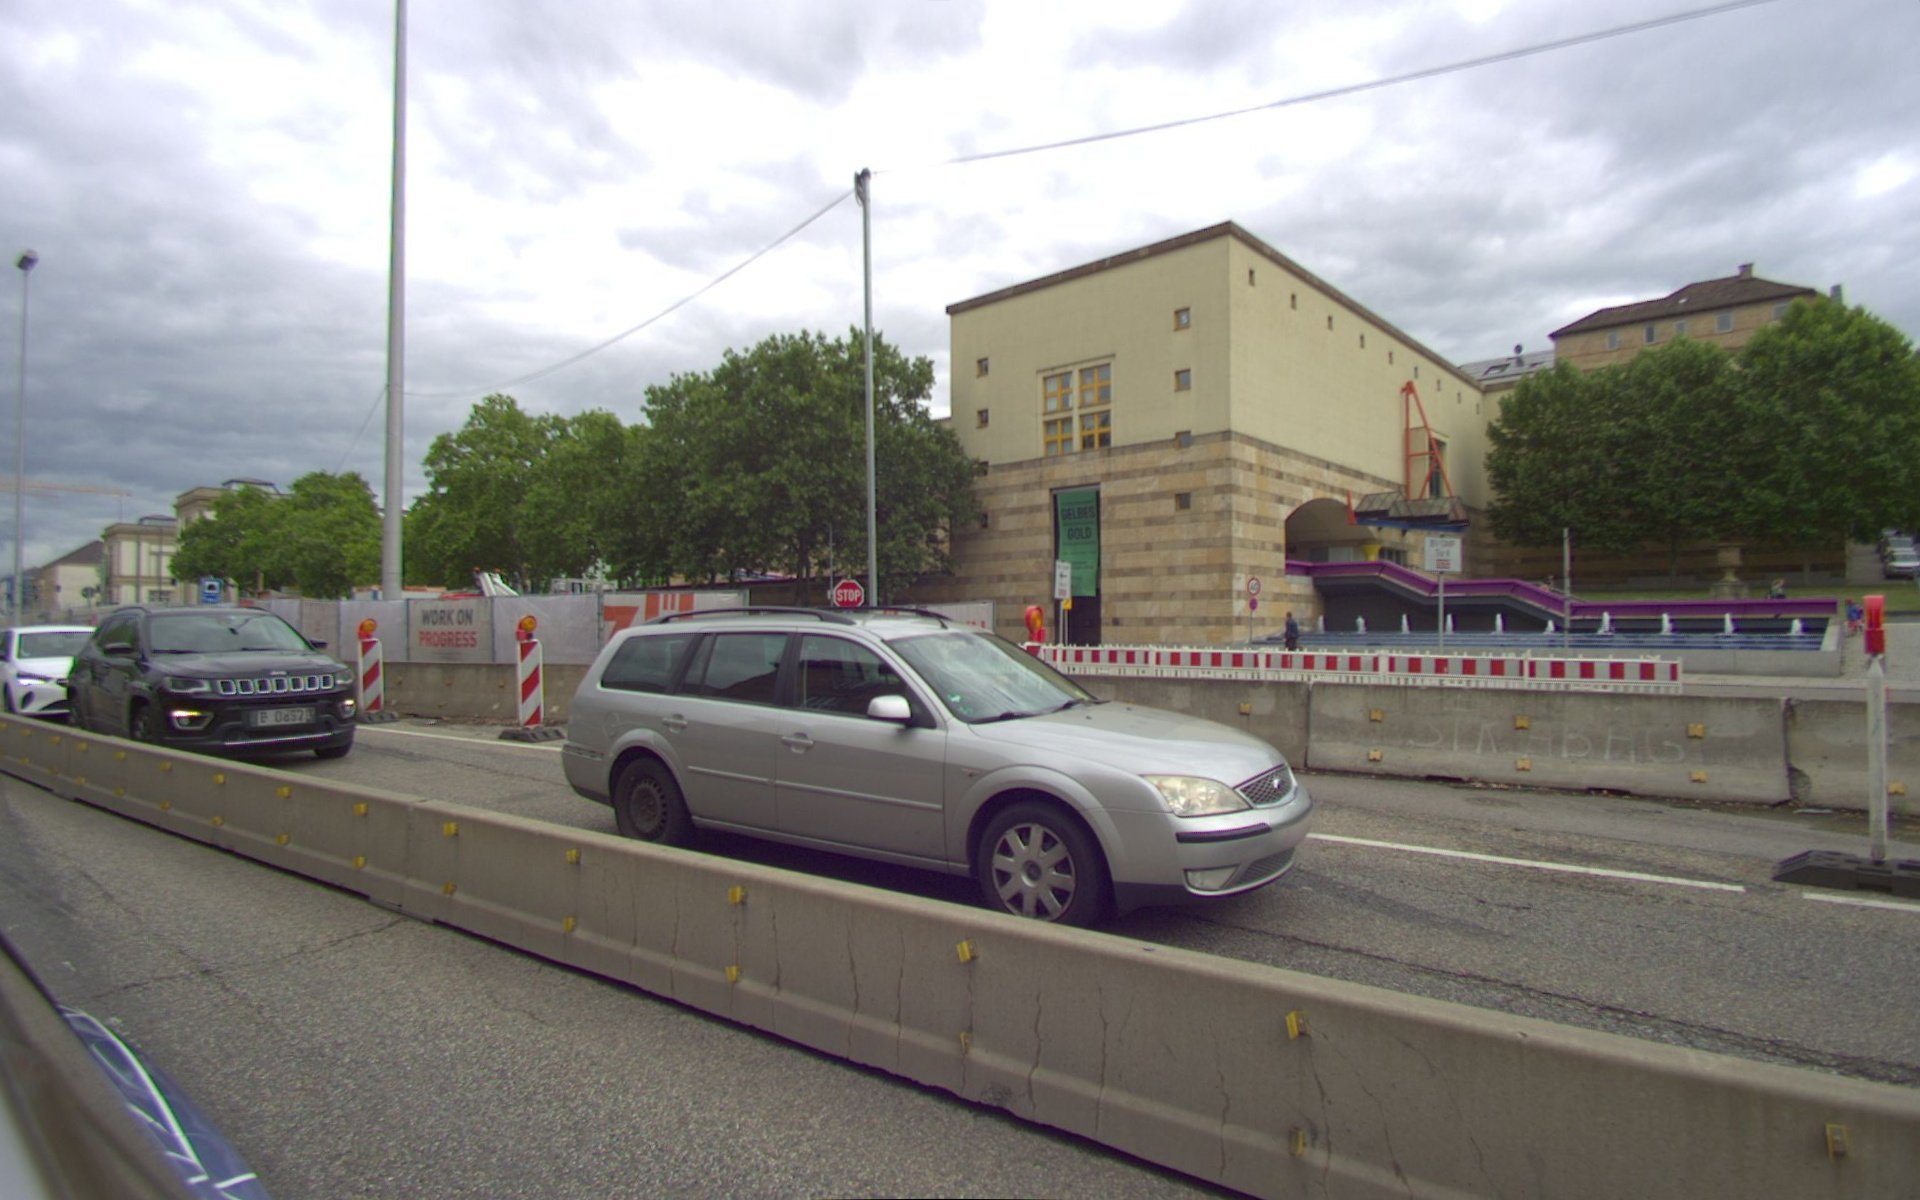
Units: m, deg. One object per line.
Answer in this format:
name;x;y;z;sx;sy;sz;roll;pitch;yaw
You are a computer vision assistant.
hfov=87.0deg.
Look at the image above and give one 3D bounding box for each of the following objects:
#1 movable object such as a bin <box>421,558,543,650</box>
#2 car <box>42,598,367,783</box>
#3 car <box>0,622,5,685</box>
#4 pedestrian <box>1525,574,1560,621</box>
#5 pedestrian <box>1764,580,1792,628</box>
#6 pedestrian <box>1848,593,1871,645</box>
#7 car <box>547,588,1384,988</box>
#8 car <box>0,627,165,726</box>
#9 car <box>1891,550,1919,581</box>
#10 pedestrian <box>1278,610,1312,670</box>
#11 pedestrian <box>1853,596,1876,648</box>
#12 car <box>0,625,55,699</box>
movable object such as a bin;-12.310;0.145;26.007;3.287;2.202;1.507;-2;-2;37
car;-8.175;0.817;10.840;4.040;1.633;1.759;-1;0;37
car;-25.658;1.373;25.765;2.999;1.566;1.614;-1;-1;40
pedestrian;25.453;-0.097;44.204;0.907;2.029;1.094;-2;1;-44
pedestrian;32.274;0.142;39.916;0.804;1.866;0.684;-1;1;43
pedestrian;29.737;0.613;33.463;0.526;1.708;0.338;-1;-1;42
car;-0.223;0.738;5.920;4.694;1.492;1.862;-1;-1;36
car;-14.111;1.101;15.834;3.929;1.306;1.710;-1;0;37
car;58.588;-2.101;62.395;1.611;1.811;3.752;-2;-1;45
pedestrian;11.594;1.362;35.046;0.815;2.029;0.836;-1;1;42
pedestrian;30.443;0.738;34.065;0.526;1.708;0.689;-1;-1;41
car;-20.643;1.260;21.215;4.561;1.426;1.836;-1;0;40
